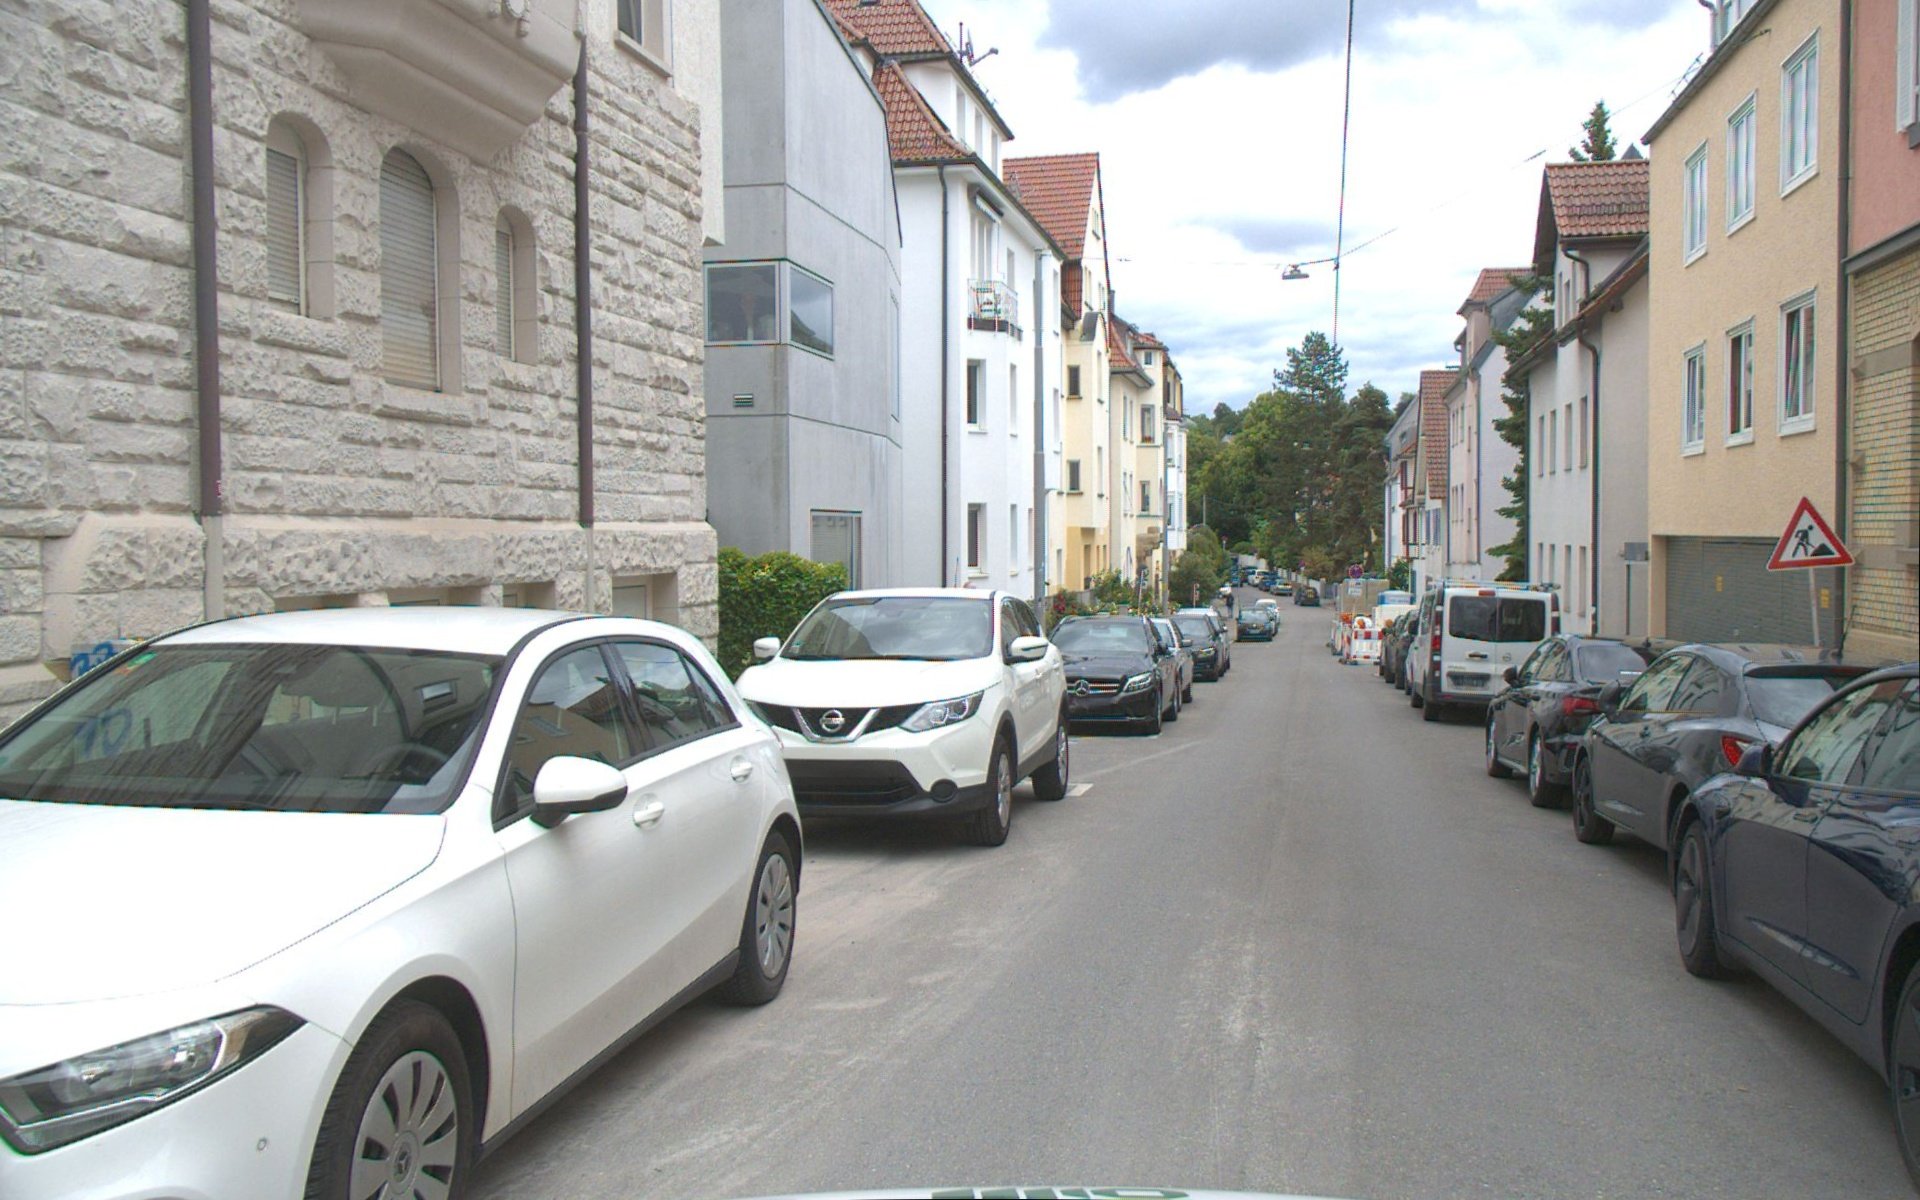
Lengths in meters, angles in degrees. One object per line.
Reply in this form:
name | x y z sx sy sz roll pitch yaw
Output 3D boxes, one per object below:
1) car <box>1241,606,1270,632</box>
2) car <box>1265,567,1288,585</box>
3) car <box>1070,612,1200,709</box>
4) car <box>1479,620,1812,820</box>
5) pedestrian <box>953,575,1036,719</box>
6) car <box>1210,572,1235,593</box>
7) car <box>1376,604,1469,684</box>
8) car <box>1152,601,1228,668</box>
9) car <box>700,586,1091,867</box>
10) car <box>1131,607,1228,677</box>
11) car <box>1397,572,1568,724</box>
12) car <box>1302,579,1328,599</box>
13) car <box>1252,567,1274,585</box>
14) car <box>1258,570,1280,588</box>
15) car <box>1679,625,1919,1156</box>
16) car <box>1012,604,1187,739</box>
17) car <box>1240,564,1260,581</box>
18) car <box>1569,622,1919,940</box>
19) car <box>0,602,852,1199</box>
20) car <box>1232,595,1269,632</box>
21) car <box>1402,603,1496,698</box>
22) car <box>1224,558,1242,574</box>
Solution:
car | 17.231 1.079 96.330 1.607 1.441 3.987 -1 0 11
car | 28.998 -2.212 151.494 1.600 1.509 3.533 1 4 3
car | 3.021 0.935 27.705 1.805 1.437 5.066 0 0 10
car | 5.859 0.953 14.717 1.813 1.428 4.578 2 -1 11
pedestrian | 0.474 0.631 22.582 0.802 1.917 0.844 -1 -1 35
car | 23.813 -1.593 150.115 1.638 1.685 3.864 -1 2 -1
car | 10.378 0.938 37.357 1.676 1.624 4.502 2 0 12
car | 6.089 0.866 43.404 1.805 1.659 4.290 0 0 10
car | -0.215 0.703 11.340 1.805 1.542 4.244 0 0 10
car | 5.015 0.932 37.421 1.805 1.483 4.508 -1 -1 12
car | 8.082 0.678 26.094 1.865 2.065 5.738 2 0 11
car | 30.010 -0.944 139.872 1.600 1.509 3.533 1 4 5
car | 29.754 -2.338 162.407 1.600 1.564 3.533 1 4 3
car | 29.205 -1.995 156.537 1.600 1.509 3.533 1 4 3
car | 3.747 0.850 5.285 1.813 1.428 4.296 2 0 12
car | 1.926 0.840 21.568 1.855 1.554 4.474 0 0 10
car | 29.592 -2.847 168.753 1.600 1.564 3.533 1 4 3
car | 4.975 0.899 9.771 1.813 1.428 3.970 2 0 9
car | -1.624 0.728 4.620 1.663 1.439 4.244 0 0 10
car | 15.045 0.705 85.925 1.805 1.847 4.548 -1 -1 9
car | 9.036 0.899 30.707 1.455 1.624 2.793 2 0 13
car | 30.250 -3.738 183.451 1.600 1.564 3.533 1 4 3
